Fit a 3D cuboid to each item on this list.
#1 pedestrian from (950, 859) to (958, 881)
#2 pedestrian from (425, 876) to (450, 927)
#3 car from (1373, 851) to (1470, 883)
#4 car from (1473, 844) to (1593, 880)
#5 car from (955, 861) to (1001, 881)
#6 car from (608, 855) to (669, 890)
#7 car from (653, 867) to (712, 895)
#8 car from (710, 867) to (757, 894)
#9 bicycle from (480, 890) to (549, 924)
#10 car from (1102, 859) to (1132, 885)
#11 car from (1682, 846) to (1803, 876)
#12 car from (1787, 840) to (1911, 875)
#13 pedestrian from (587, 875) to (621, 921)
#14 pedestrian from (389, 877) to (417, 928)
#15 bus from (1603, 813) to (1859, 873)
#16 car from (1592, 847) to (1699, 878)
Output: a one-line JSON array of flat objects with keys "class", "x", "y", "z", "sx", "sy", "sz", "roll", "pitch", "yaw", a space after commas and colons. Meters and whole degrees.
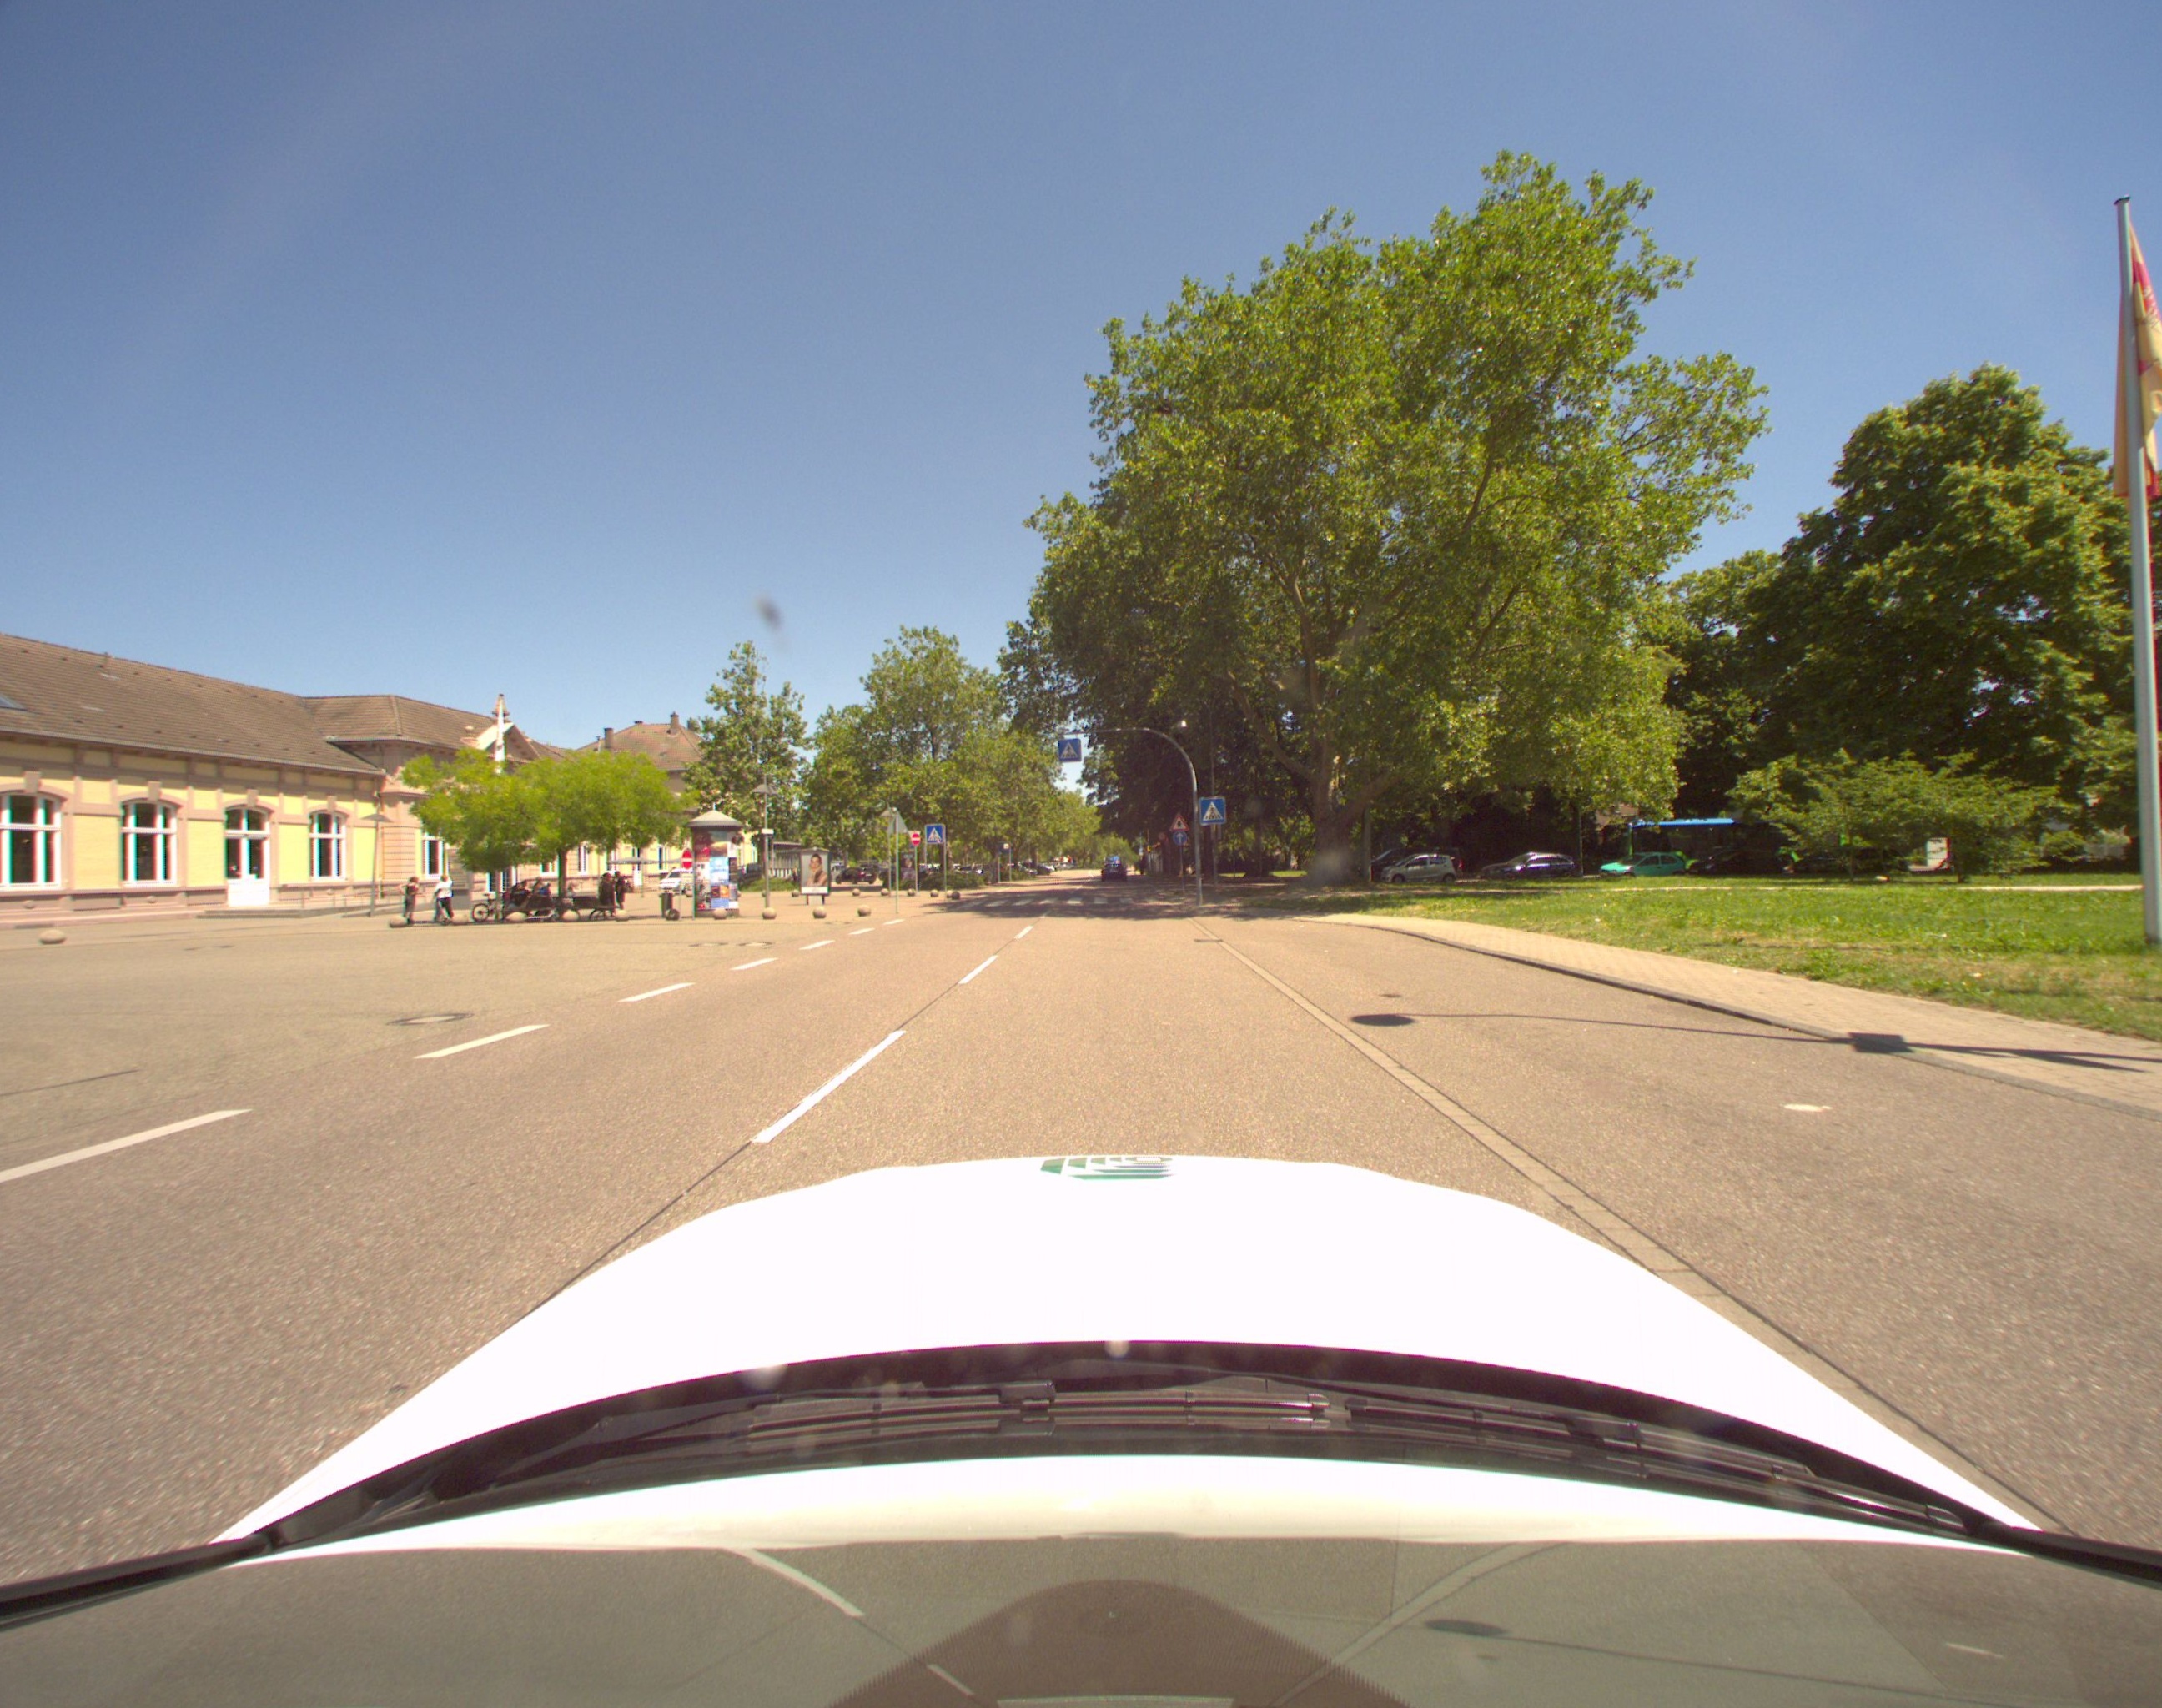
[{"class": "pedestrian", "x": -11.584, "y": 1.447, "z": 74.300, "sx": 0.625, "sy": 2.014, "sz": 0.567, "roll": -1, "pitch": -3, "yaw": -14}, {"class": "pedestrian", "x": -22.116, "y": 1.632, "z": 27.984, "sx": 0.589, "sy": 1.710, "sz": 0.580, "roll": 1, "pitch": -4, "yaw": -44}, {"class": "car", "x": 17.080, "y": 0.657, "z": 41.028, "sx": 4.086, "sy": 1.466, "sz": 2.003, "roll": -2, "pitch": -1, "yaw": 4}, {"class": "car", "x": 22.359, "y": 0.401, "z": 40.421, "sx": 4.800, "sy": 1.607, "sz": 2.003, "roll": -2, "pitch": -1, "yaw": 5}, {"class": "car", "x": -9.668, "y": 1.600, "z": 76.174, "sx": 3.996, "sy": 1.782, "sz": 1.989, "roll": -1, "pitch": -2, "yaw": -17}, {"class": "car", "x": -32.276, "y": 1.342, "z": 59.578, "sx": 1.713, "sy": 2.468, "sz": 5.005, "roll": 0, "pitch": -1, "yaw": 1}, {"class": "car", "x": -28.503, "y": 1.895, "z": 58.385, "sx": 1.744, "sy": 1.917, "sz": 4.777, "roll": -2, "pitch": -1, "yaw": 2}, {"class": "car", "x": -28.019, "y": 2.093, "z": 65.819, "sx": 1.986, "sy": 2.013, "sz": 4.002, "roll": -2, "pitch": 0, "yaw": 2}, {"class": "bicycle", "x": -18.760, "y": 1.745, "z": 26.999, "sx": 1.800, "sy": 1.031, "sz": 0.485, "roll": -1, "pitch": -1, "yaw": -22}, {"class": "car", "x": 2.623, "y": 1.315, "z": 60.355, "sx": 2.117, "sy": 1.848, "sz": 4.049, "roll": -1, "pitch": -1, "yaw": 2}, {"class": "car", "x": 32.706, "y": 0.368, "z": 40.366, "sx": 4.320, "sy": 1.416, "sz": 2.001, "roll": -1, "pitch": -2, "yaw": 2}, {"class": "car", "x": 37.797, "y": 0.180, "z": 40.179, "sx": 4.079, "sy": 1.609, "sz": 2.002, "roll": -1, "pitch": -2, "yaw": 3}, {"class": "pedestrian", "x": -17.468, "y": 1.608, "z": 29.823, "sx": 0.754, "sy": 1.659, "sz": 0.724, "roll": -2, "pitch": -3, "yaw": 19}, {"class": "pedestrian", "x": -22.701, "y": 1.626, "z": 27.273, "sx": 0.661, "sy": 1.673, "sz": 0.623, "roll": 1, "pitch": -4, "yaw": -44}, {"class": "bus", "x": 36.501, "y": -0.580, "z": 45.996, "sx": 12.332, "sy": 2.978, "sz": 2.269, "roll": -2, "pitch": -2, "yaw": 1}, {"class": "car", "x": 27.924, "y": 0.442, "z": 40.405, "sx": 3.864, "sy": 1.454, "sz": 2.001, "roll": -1, "pitch": -2, "yaw": 3}]
